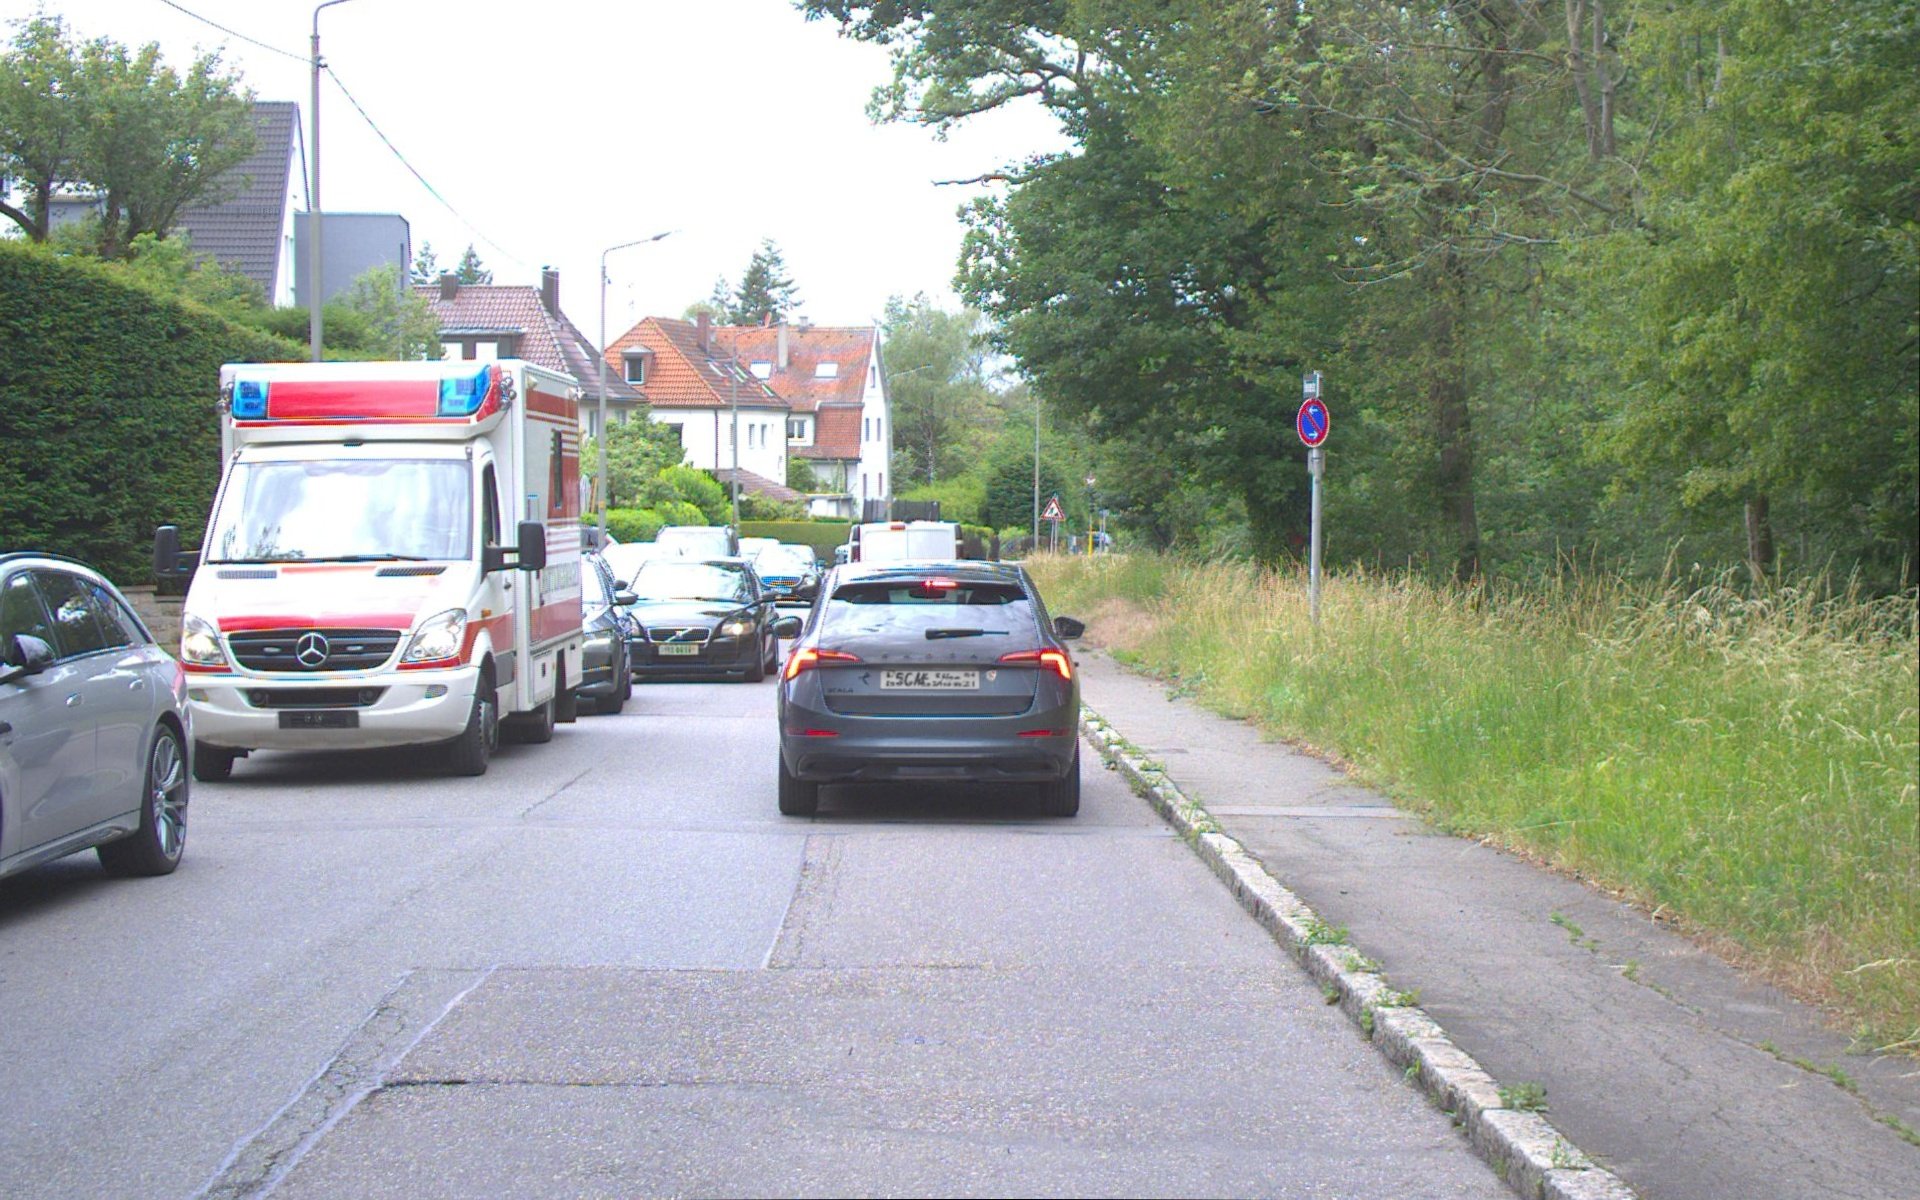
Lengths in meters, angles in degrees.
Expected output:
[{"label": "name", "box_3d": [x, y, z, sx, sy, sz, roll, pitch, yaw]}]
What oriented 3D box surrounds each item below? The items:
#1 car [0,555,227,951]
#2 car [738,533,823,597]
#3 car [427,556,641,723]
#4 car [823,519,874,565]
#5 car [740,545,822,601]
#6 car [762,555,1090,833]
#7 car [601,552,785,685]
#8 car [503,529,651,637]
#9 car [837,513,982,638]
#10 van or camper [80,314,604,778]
[{"label": "car", "box_3d": [-4.541, 0.589, 14.354, 1.798, 1.499, 4.863, -2, 1, 1]}, {"label": "car", "box_3d": [-4.219, -0.850, 81.342, 1.863, 1.409, 4.593, 2, 1, -2]}, {"label": "car", "box_3d": [-3.961, 0.322, 32.535, 1.763, 1.441, 4.474, 0, 1, -4]}, {"label": "car", "box_3d": [-4.114, -2.162, 127.614, 1.833, 1.591, 4.324, 1, 2, -1]}, {"label": "car", "box_3d": [-5.005, -0.769, 96.603, 1.784, 1.495, 4.014, 2, 1, 4]}, {"label": "car", "box_3d": [-0.306, 0.486, 20.807, 1.727, 1.434, 4.324, 1, 1, -4]}, {"label": "car", "box_3d": [-3.051, 0.175, 40.056, 1.763, 1.441, 4.474, 0, 1, 0]}, {"label": "car", "box_3d": [-6.169, -0.302, 55.753, 1.838, 1.643, 4.186, -1, 1, 1]}, {"label": "car", "box_3d": [-0.881, -0.438, 56.560, 2.071, 1.915, 4.923, 1, 1, -4]}, {"label": "van or camper", "box_3d": [-4.233, -0.394, 25.053, 2.456, 2.885, 7.168, 0, 1, 1]}]
